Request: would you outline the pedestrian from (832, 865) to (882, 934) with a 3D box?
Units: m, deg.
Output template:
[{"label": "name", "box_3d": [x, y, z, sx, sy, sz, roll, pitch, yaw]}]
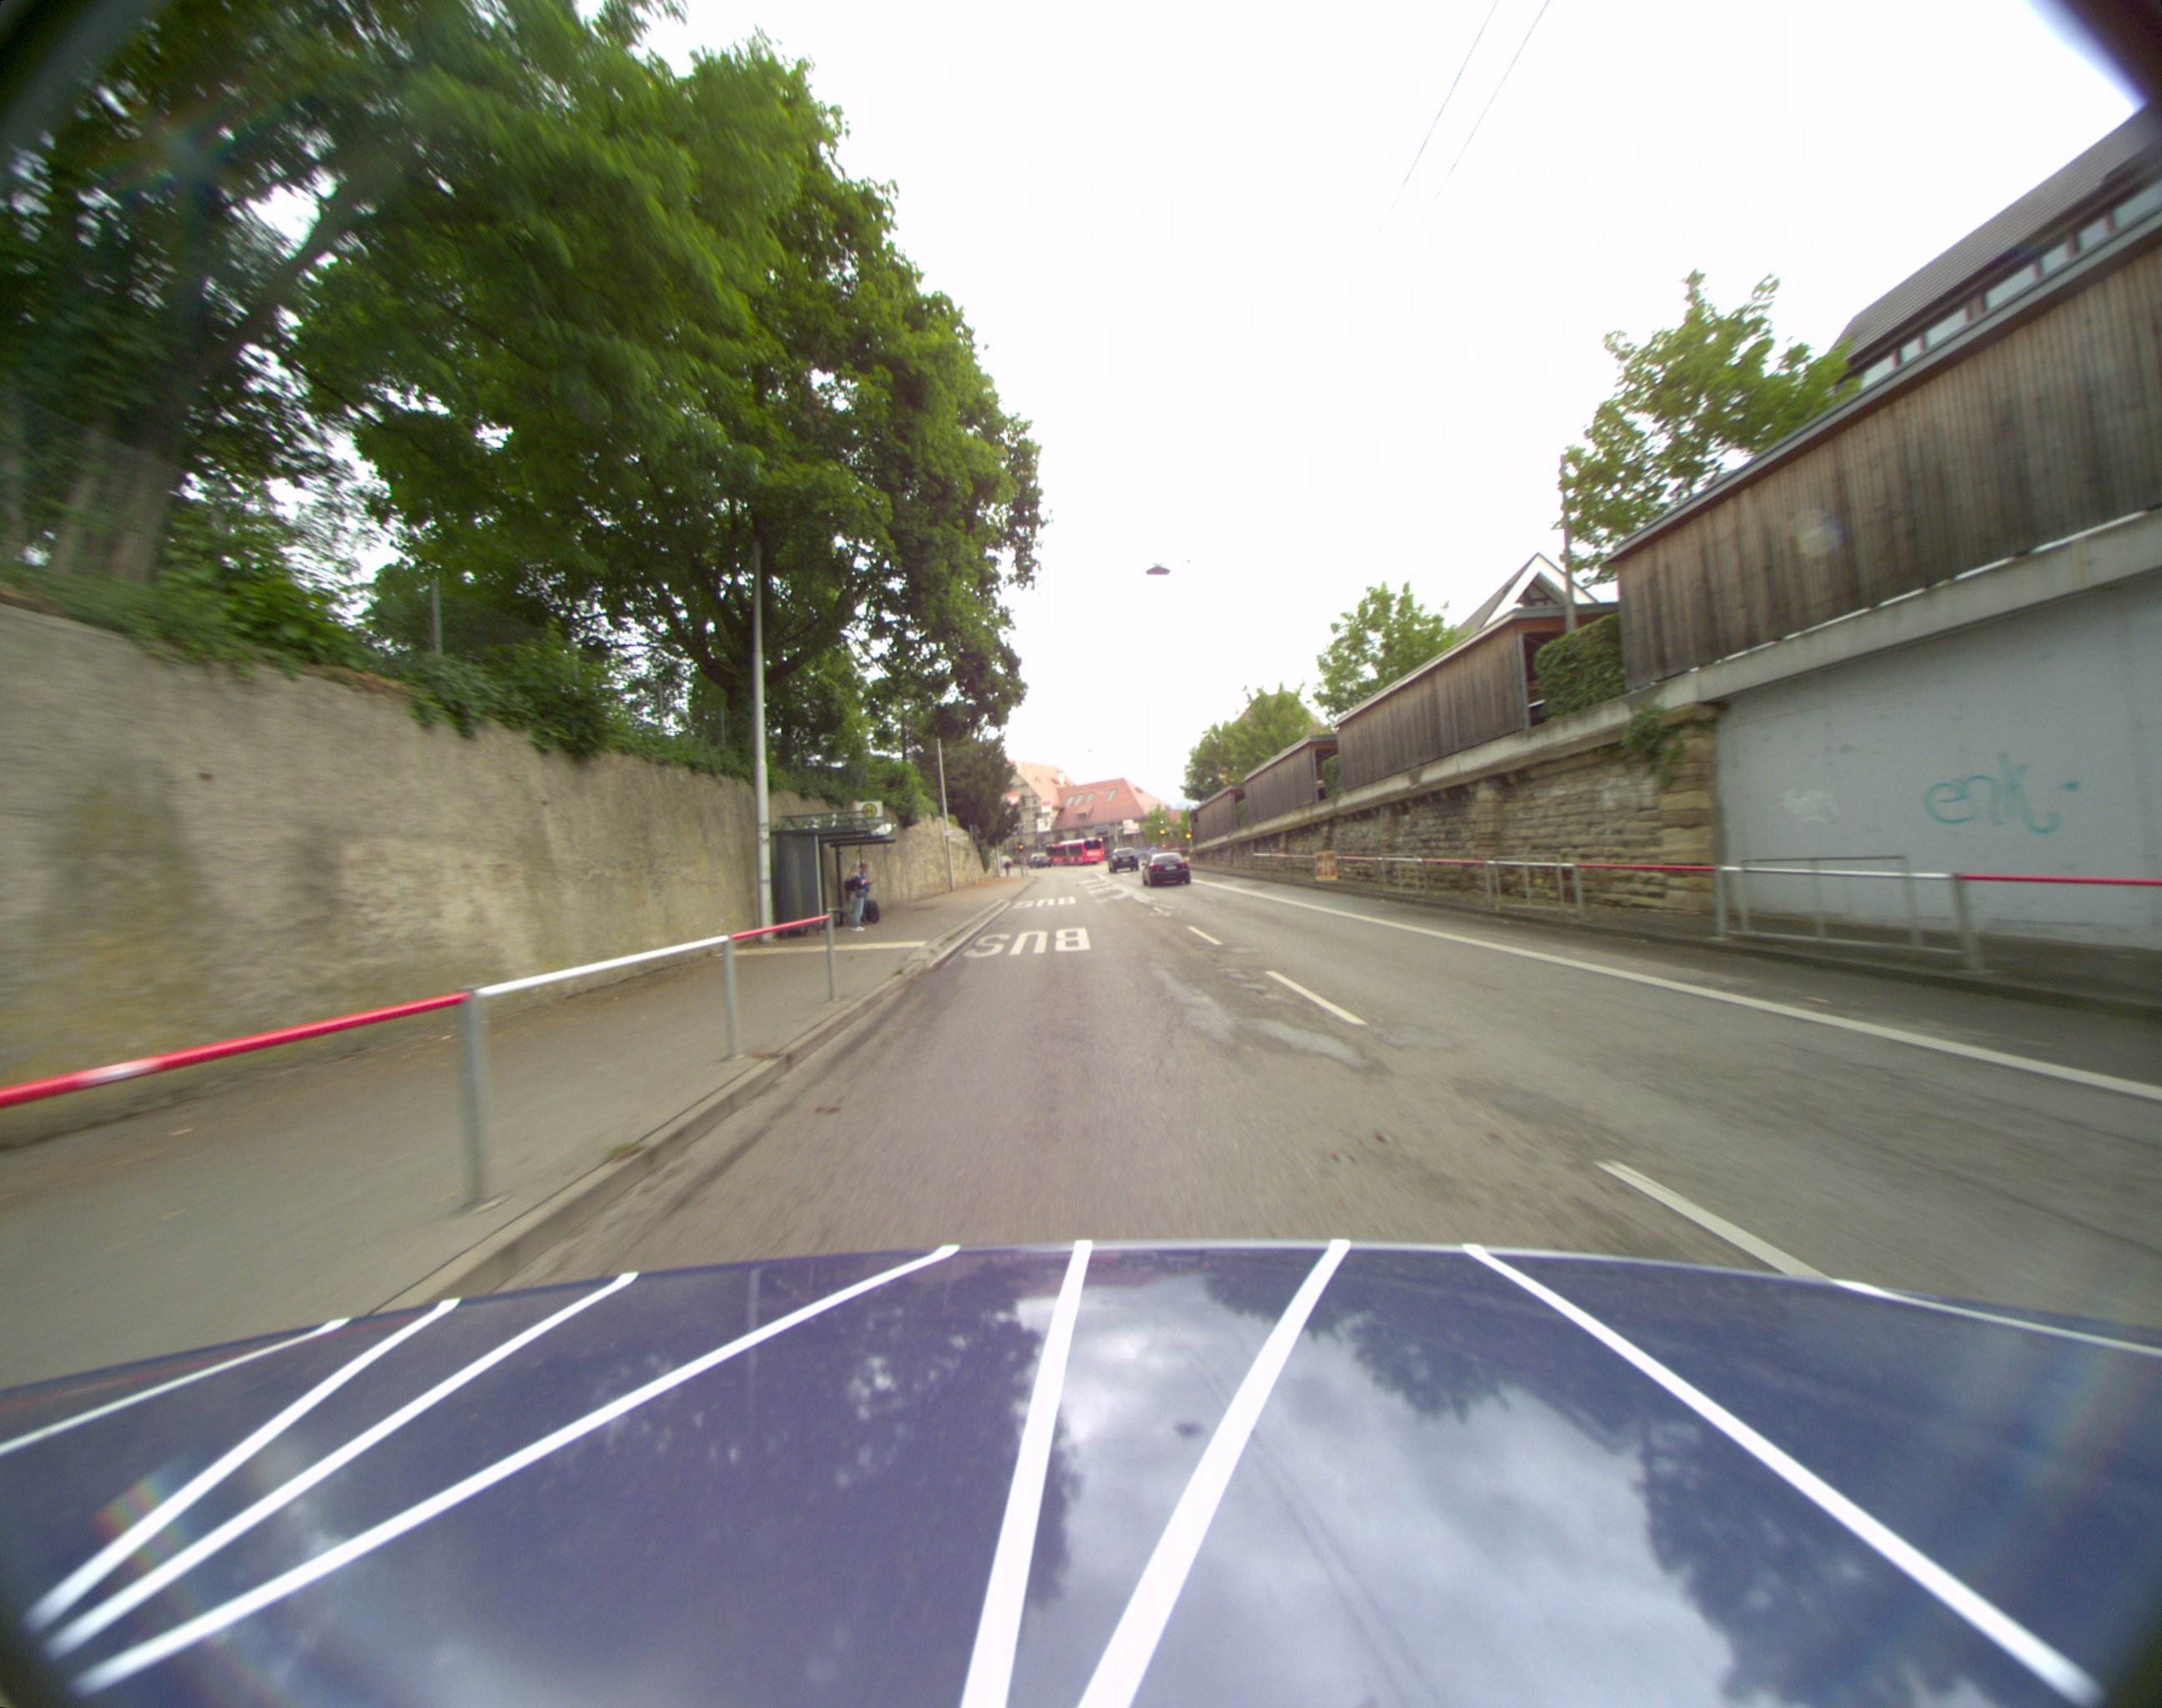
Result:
[{"label": "pedestrian", "box_3d": [-5.296, 1.065, 17.970, 0.735, 1.578, 0.775, -3, 0, 40]}]

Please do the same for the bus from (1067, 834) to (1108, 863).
[{"label": "bus", "box_3d": [0.747, -0.648, 93.514, 2.667, 3.104, 8.283, -7, 1, -14]}]

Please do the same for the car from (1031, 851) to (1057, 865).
[{"label": "car", "box_3d": [-4.838, 0.562, 99.376, 1.929, 1.621, 4.515, -8, 2, -20]}]

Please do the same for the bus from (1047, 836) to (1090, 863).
[{"label": "bus", "box_3d": [-1.789, -0.462, 102.325, 2.667, 3.104, 10.005, -6, 1, -17]}]

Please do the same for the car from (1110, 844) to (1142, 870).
[{"label": "car", "box_3d": [3.317, 0.208, 56.845, 1.899, 1.746, 4.436, -4, 1, -2]}]

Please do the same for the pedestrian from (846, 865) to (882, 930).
[{"label": "pedestrian", "box_3d": [-5.759, 1.143, 20.192, 0.723, 1.633, 0.630, -4, 1, -6]}]

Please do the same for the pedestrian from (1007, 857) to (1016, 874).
[{"label": "pedestrian", "box_3d": [-6.587, 1.099, 72.094, 0.733, 1.567, 0.743, -3, 0, -4]}]

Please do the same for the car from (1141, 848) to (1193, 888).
[{"label": "car", "box_3d": [3.795, 0.575, 34.010, 1.739, 1.524, 3.999, -4, 1, -1]}]

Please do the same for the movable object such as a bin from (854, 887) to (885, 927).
[{"label": "movable object such as a bin", "box_3d": [-5.797, 1.450, 20.857, 0.676, 1.014, 0.626, -4, 0, -6]}]
